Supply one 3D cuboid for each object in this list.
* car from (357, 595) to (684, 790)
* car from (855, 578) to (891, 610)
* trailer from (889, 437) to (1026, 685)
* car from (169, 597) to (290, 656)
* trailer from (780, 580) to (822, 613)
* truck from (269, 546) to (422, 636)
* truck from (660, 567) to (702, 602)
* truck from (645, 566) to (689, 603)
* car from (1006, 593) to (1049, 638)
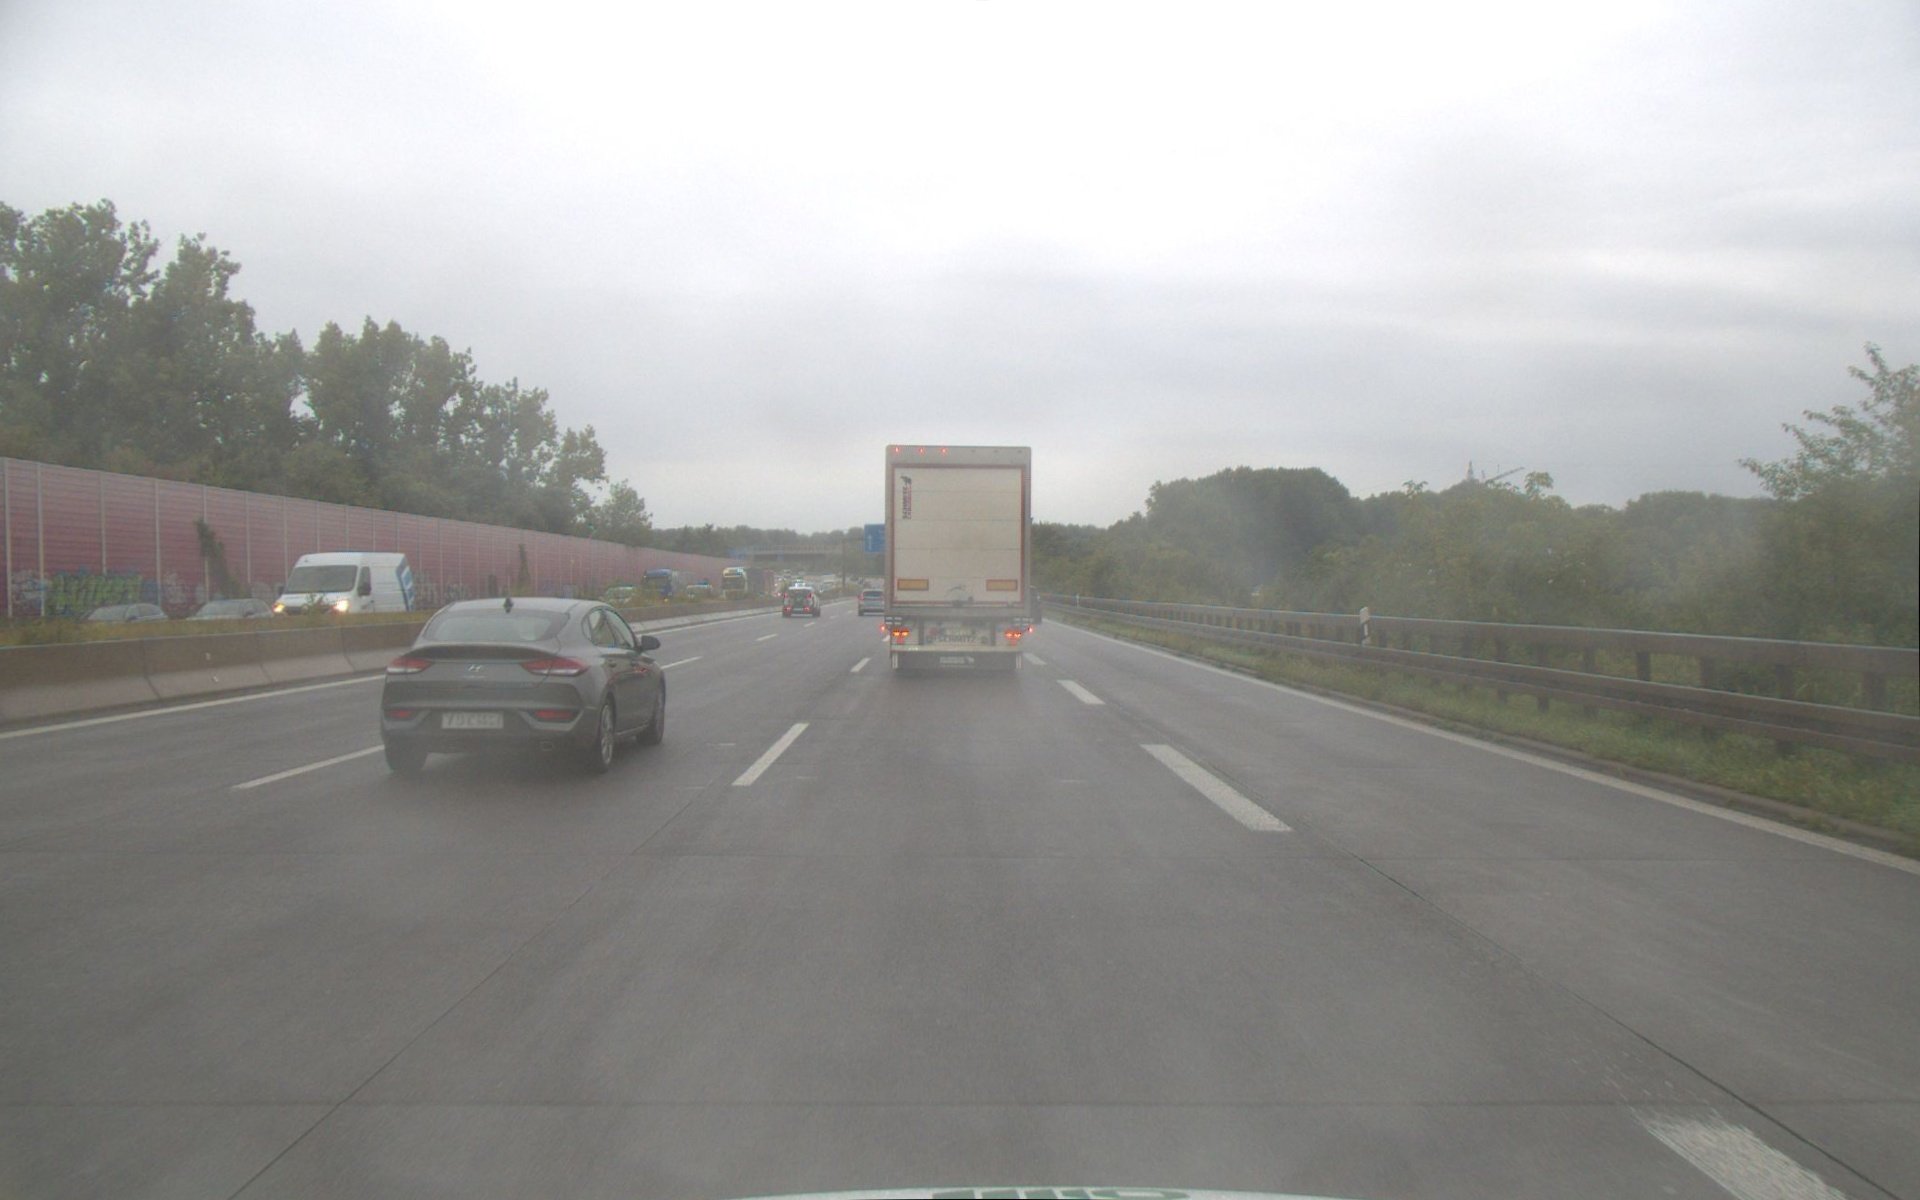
[{"bbox_3d":[-3.682,0.686,14.759,1.690,1.427,4.828,0,0,-1],"label":"car"},{"bbox_3d":[-4.844,-0.358,92.652,1.855,1.753,4.000,1,0,-1],"label":"car"},{"bbox_3d":[-0.129,-0.881,35.883,2.295,4.229,14.827,1,2,-1],"label":"trailer"},{"bbox_3d":[-23.098,0.802,52.468,1.953,1.769,4.264,0,0,0],"label":"car"},{"bbox_3d":[-8.331,-0.198,86.944,1.778,1.653,4.568,0,1,-1],"label":"trailer"},{"bbox_3d":[-16.336,-0.242,44.308,2.101,2.244,5.419,0,0,0],"label":"truck"},{"bbox_3d":[-28.618,-1.623,169.963,2.912,3.409,8.698,1,1,-2],"label":"truck"},{"bbox_3d":[-28.375,-1.527,160.442,2.658,3.409,10.429,1,1,-1],"label":"truck"},{"bbox_3d":[3.096,0.695,76.889,1.858,1.983,4.000,1,0,1],"label":"car"}]
